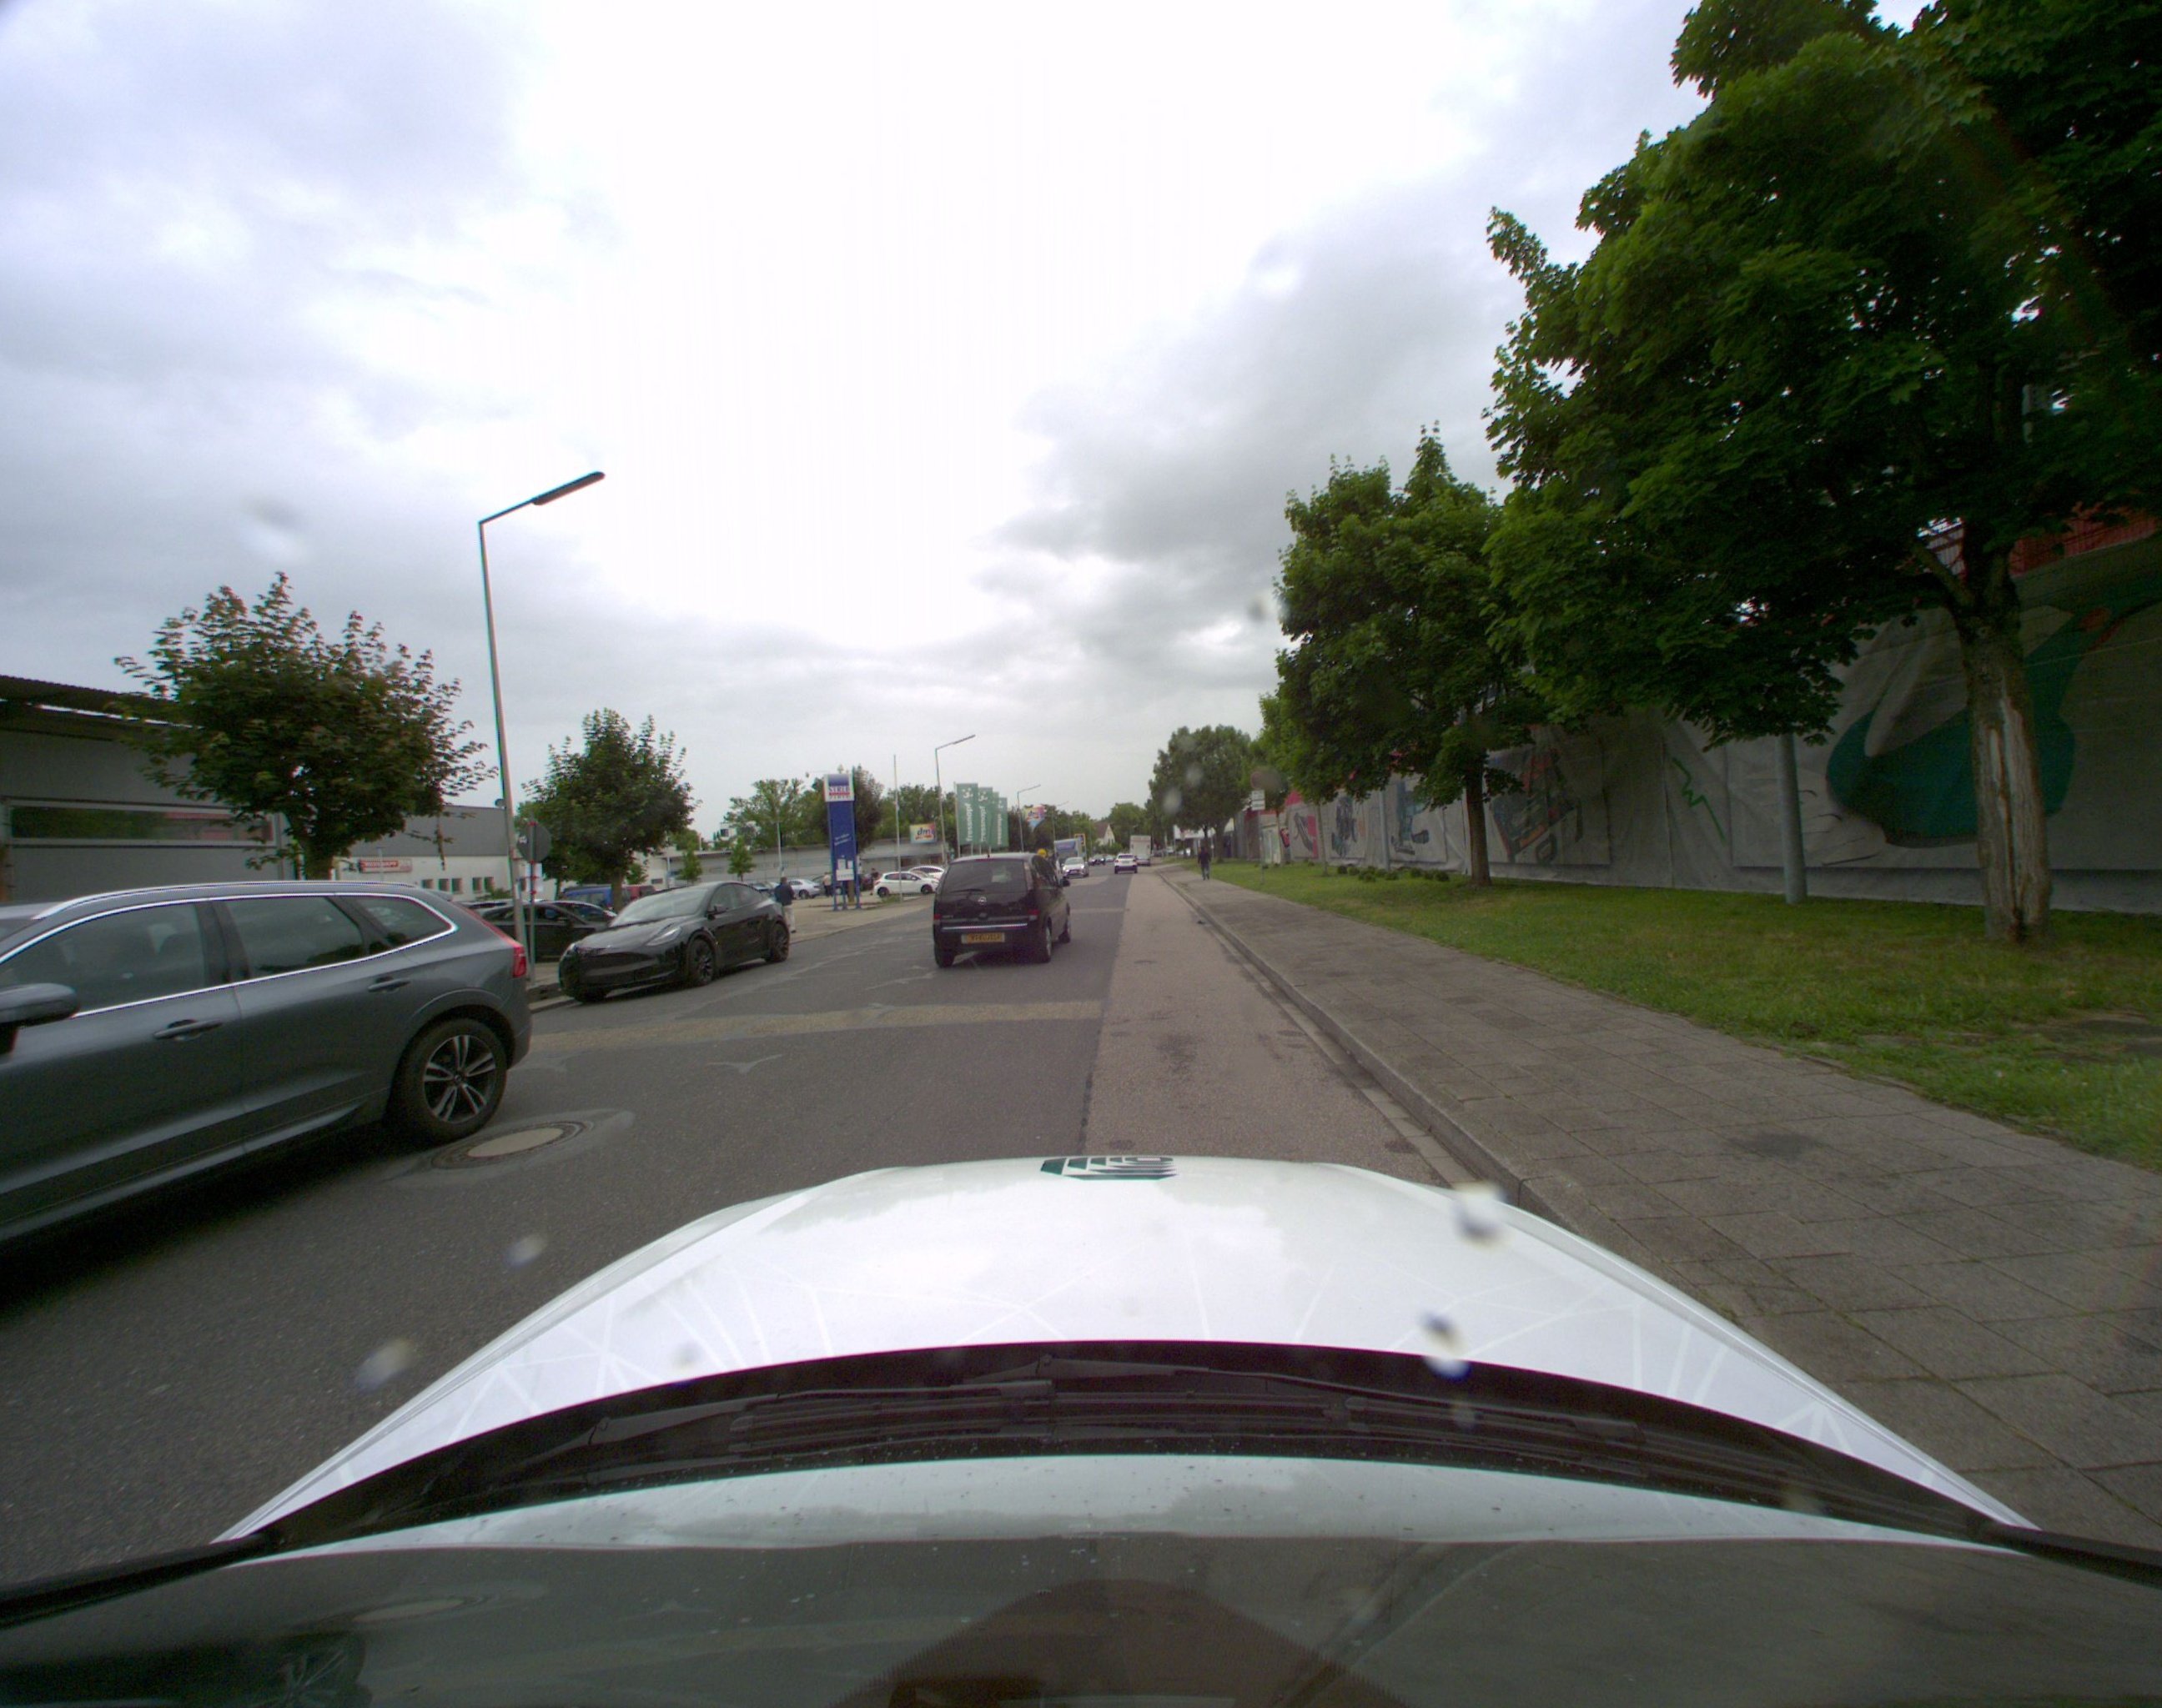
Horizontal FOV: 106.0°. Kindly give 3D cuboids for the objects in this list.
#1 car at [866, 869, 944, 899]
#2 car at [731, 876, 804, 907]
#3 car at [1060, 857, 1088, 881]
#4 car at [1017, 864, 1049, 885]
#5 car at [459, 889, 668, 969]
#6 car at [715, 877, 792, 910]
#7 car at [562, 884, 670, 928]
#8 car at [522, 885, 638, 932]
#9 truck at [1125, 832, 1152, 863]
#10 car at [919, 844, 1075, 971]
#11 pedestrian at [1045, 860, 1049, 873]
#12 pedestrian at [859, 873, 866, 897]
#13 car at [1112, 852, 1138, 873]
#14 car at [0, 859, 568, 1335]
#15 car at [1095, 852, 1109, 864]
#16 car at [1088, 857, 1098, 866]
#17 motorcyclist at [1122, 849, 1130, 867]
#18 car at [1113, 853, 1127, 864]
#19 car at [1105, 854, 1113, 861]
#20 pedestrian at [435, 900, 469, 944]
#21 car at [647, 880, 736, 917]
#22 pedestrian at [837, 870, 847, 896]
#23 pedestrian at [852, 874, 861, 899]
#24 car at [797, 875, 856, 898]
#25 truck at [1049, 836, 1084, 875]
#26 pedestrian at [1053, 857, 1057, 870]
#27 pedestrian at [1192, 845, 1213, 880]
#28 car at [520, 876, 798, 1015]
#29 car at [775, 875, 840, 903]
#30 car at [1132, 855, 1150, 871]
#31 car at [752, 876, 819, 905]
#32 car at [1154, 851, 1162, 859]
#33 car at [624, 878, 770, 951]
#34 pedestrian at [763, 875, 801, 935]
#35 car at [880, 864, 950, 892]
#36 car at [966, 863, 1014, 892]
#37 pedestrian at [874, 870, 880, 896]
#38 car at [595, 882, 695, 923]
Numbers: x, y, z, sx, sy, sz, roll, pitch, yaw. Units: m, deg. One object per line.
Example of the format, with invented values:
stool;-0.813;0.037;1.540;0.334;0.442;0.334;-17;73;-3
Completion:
car;-10.426;1.763;48.538;4.195;1.463;1.950;-4;0;-4
car;-20.788;2.479;54.120;3.970;1.669;1.878;-5;0;3
car;-0.481;1.074;59.364;1.591;1.528;3.532;-6;-1;4
car;-3.731;1.596;63.906;1.889;1.367;4.004;-4;0;4
car;-12.649;1.813;20.063;3.856;1.620;1.930;-3;0;4
car;-20.743;2.505;51.597;3.970;1.669;1.878;-5;0;3
car;-22.158;2.482;38.910;3.970;1.669;1.878;-5;0;3
car;-22.393;2.402;36.504;3.970;1.669;1.878;-5;0;3
truck;7.416;-0.732;105.491;3.122;3.585;10.057;-3;-1;3
car;-1.176;0.737;13.080;1.673;1.632;3.764;-5;0;5
pedestrian;-4.154;1.497;99.930;0.401;1.531;0.485;-5;0;-2
pedestrian;-14.435;2.053;53.812;0.330;1.570;0.502;-3;0;-9
car;3.501;0.630;63.727;1.878;1.531;4.259;-2;0;5
car;-4.840;0.968;3.603;1.925;1.684;4.500;-6;0;4
car;3.206;0.678;124.282;1.985;1.684;4.003;-3;-1;3
car;2.065;1.261;140.526;1.616;1.375;3.455;-3;-1;3
motorcyclist;4.196;0.378;75.575;0.622;1.554;0.605;-5;-1;5
car;5.779;0.655;120.956;1.929;1.367;4.004;-5;0;3
car;5.956;0.808;173.879;1.535;1.365;3.432;-3;-1;4
pedestrian;-25.944;2.791;33.591;0.797;1.715;0.697;-3;0;-1
car;-21.742;2.491;45.584;3.970;1.669;1.878;-5;0;3
pedestrian;-15.740;1.892;53.656;0.456;1.642;0.372;-4;-1;-14
pedestrian;-14.815;2.140;53.730;0.358;1.570;0.503;-4;0;-7
car;-20.089;2.563;64.280;3.969;1.492;1.788;-4;0;4
truck;-1.564;0.184;91.545;2.960;3.955;6.412;-6;0;4
pedestrian;-3.180;1.164;100.822;0.400;1.531;0.485;-5;0;-2
pedestrian;5.902;0.392;39.601;0.914;1.635;0.854;-3;-1;5
car;-6.574;1.319;13.401;1.939;1.526;4.405;-9;-1;2
car;-20.164;2.571;60.061;3.970;1.669;1.878;-5;0;3
car;7.097;1.036;96.256;1.985;1.806;4.003;-3;-1;3
car;-20.967;2.584;57.892;3.970;1.669;1.878;-5;0;3
car;18.991;0.255;199.915;1.878;1.683;4.259;-2;0;5
car;-12.829;1.979;27.409;3.921;2.013;1.759;-5;0;-4
pedestrian;-8.898;1.510;24.281;0.773;1.715;0.697;-4;-1;-1
car;-10.834;1.581;53.432;4.124;1.463;1.897;-5;0;-2
car;-5.061;1.284;45.674;1.889;1.367;4.004;-4;0;4
pedestrian;-13.556;1.932;54.082;0.262;1.729;0.421;-4;0;-8
car;-22.101;2.456;41.359;3.970;1.669;1.878;-5;0;3
